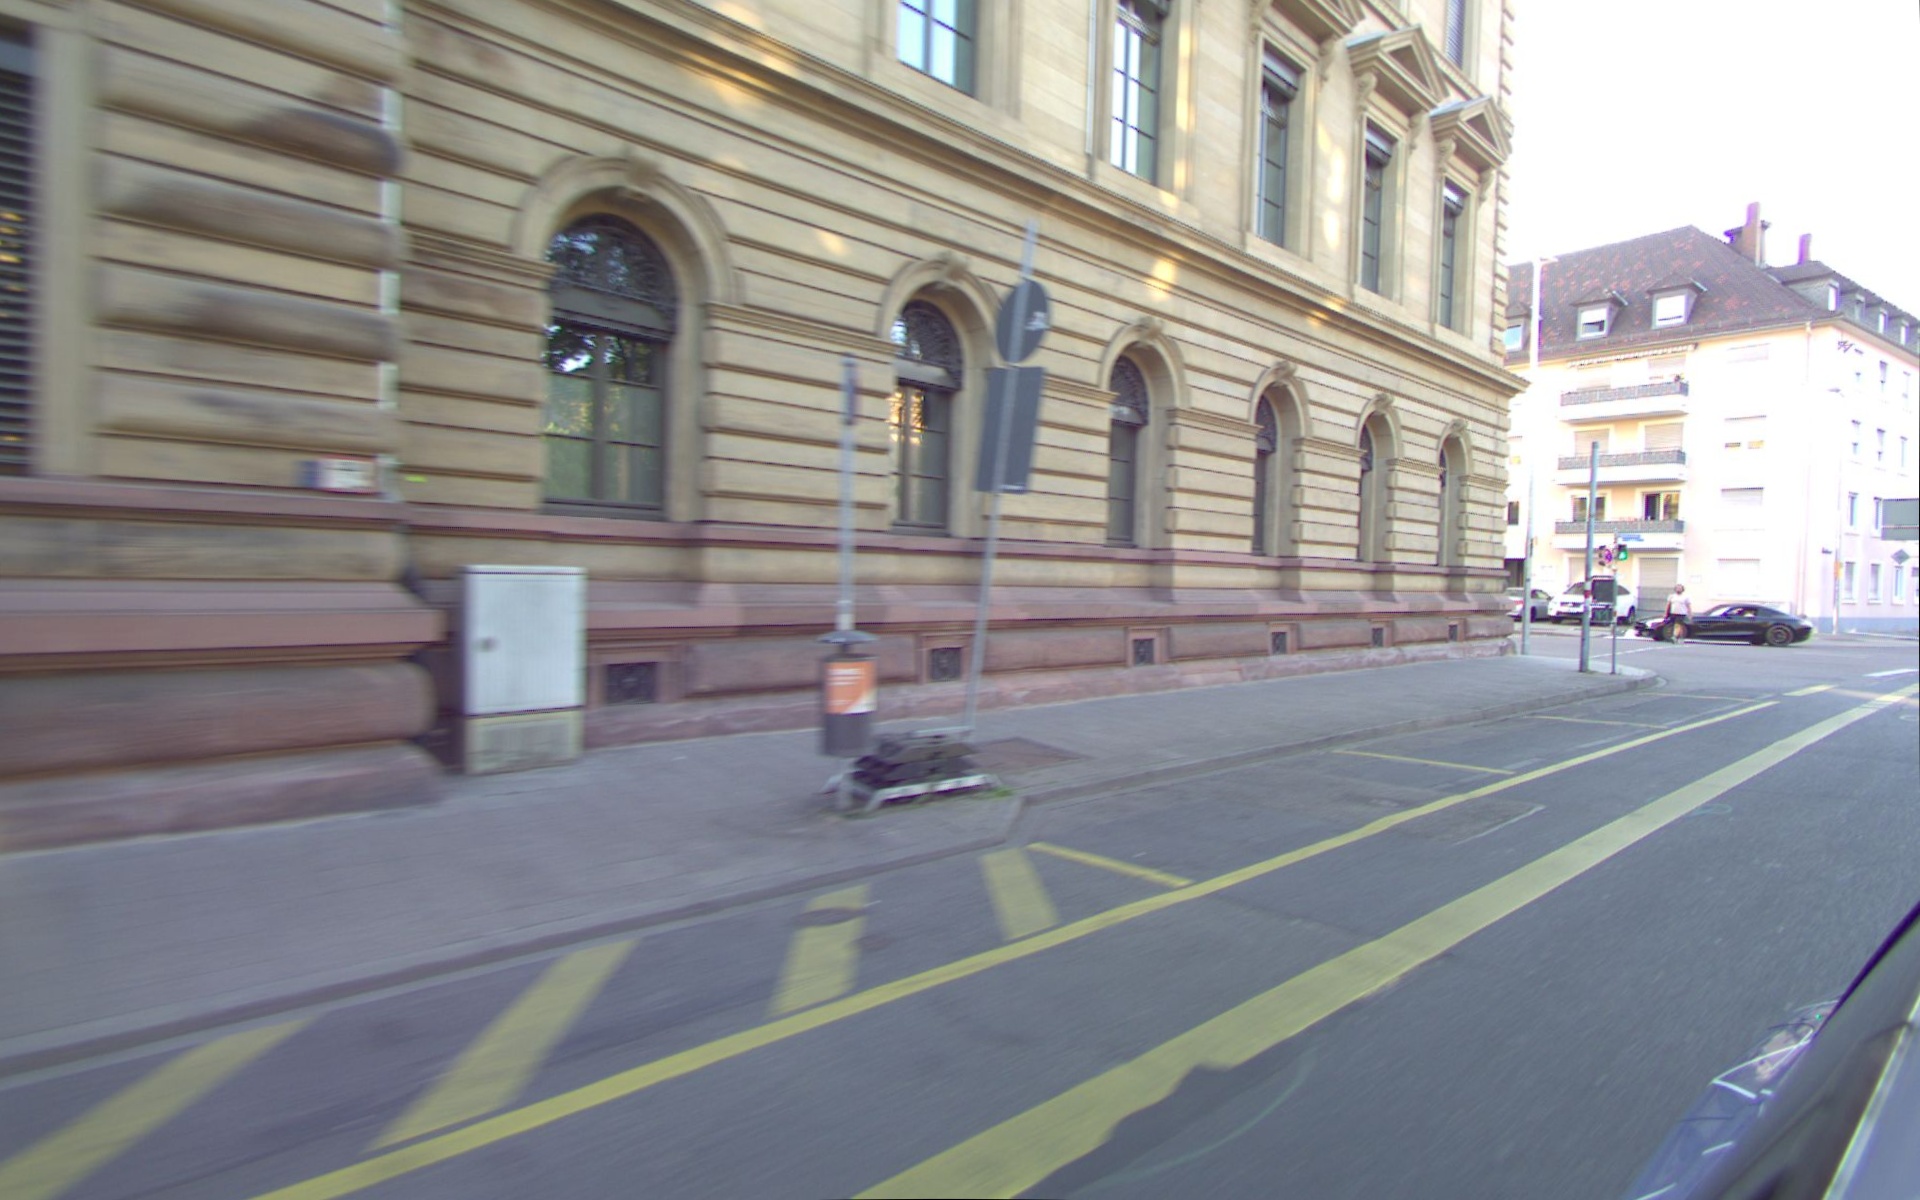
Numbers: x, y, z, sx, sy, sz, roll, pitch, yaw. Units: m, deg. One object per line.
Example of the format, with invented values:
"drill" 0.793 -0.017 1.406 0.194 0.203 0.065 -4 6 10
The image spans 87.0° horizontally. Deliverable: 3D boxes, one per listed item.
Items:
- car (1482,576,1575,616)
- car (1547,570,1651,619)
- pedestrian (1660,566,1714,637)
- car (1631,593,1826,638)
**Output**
"car" 23.491 -0.183 41.792 3.954 1.532 1.925 0 2 -37
"car" 24.994 -0.230 39.569 4.392 1.771 1.999 0 2 -37
"pedestrian" 21.107 0.037 29.391 0.973 2.039 0.789 1 1 -19
"car" 23.561 0.448 31.259 4.301 1.317 2.172 0 0 19
